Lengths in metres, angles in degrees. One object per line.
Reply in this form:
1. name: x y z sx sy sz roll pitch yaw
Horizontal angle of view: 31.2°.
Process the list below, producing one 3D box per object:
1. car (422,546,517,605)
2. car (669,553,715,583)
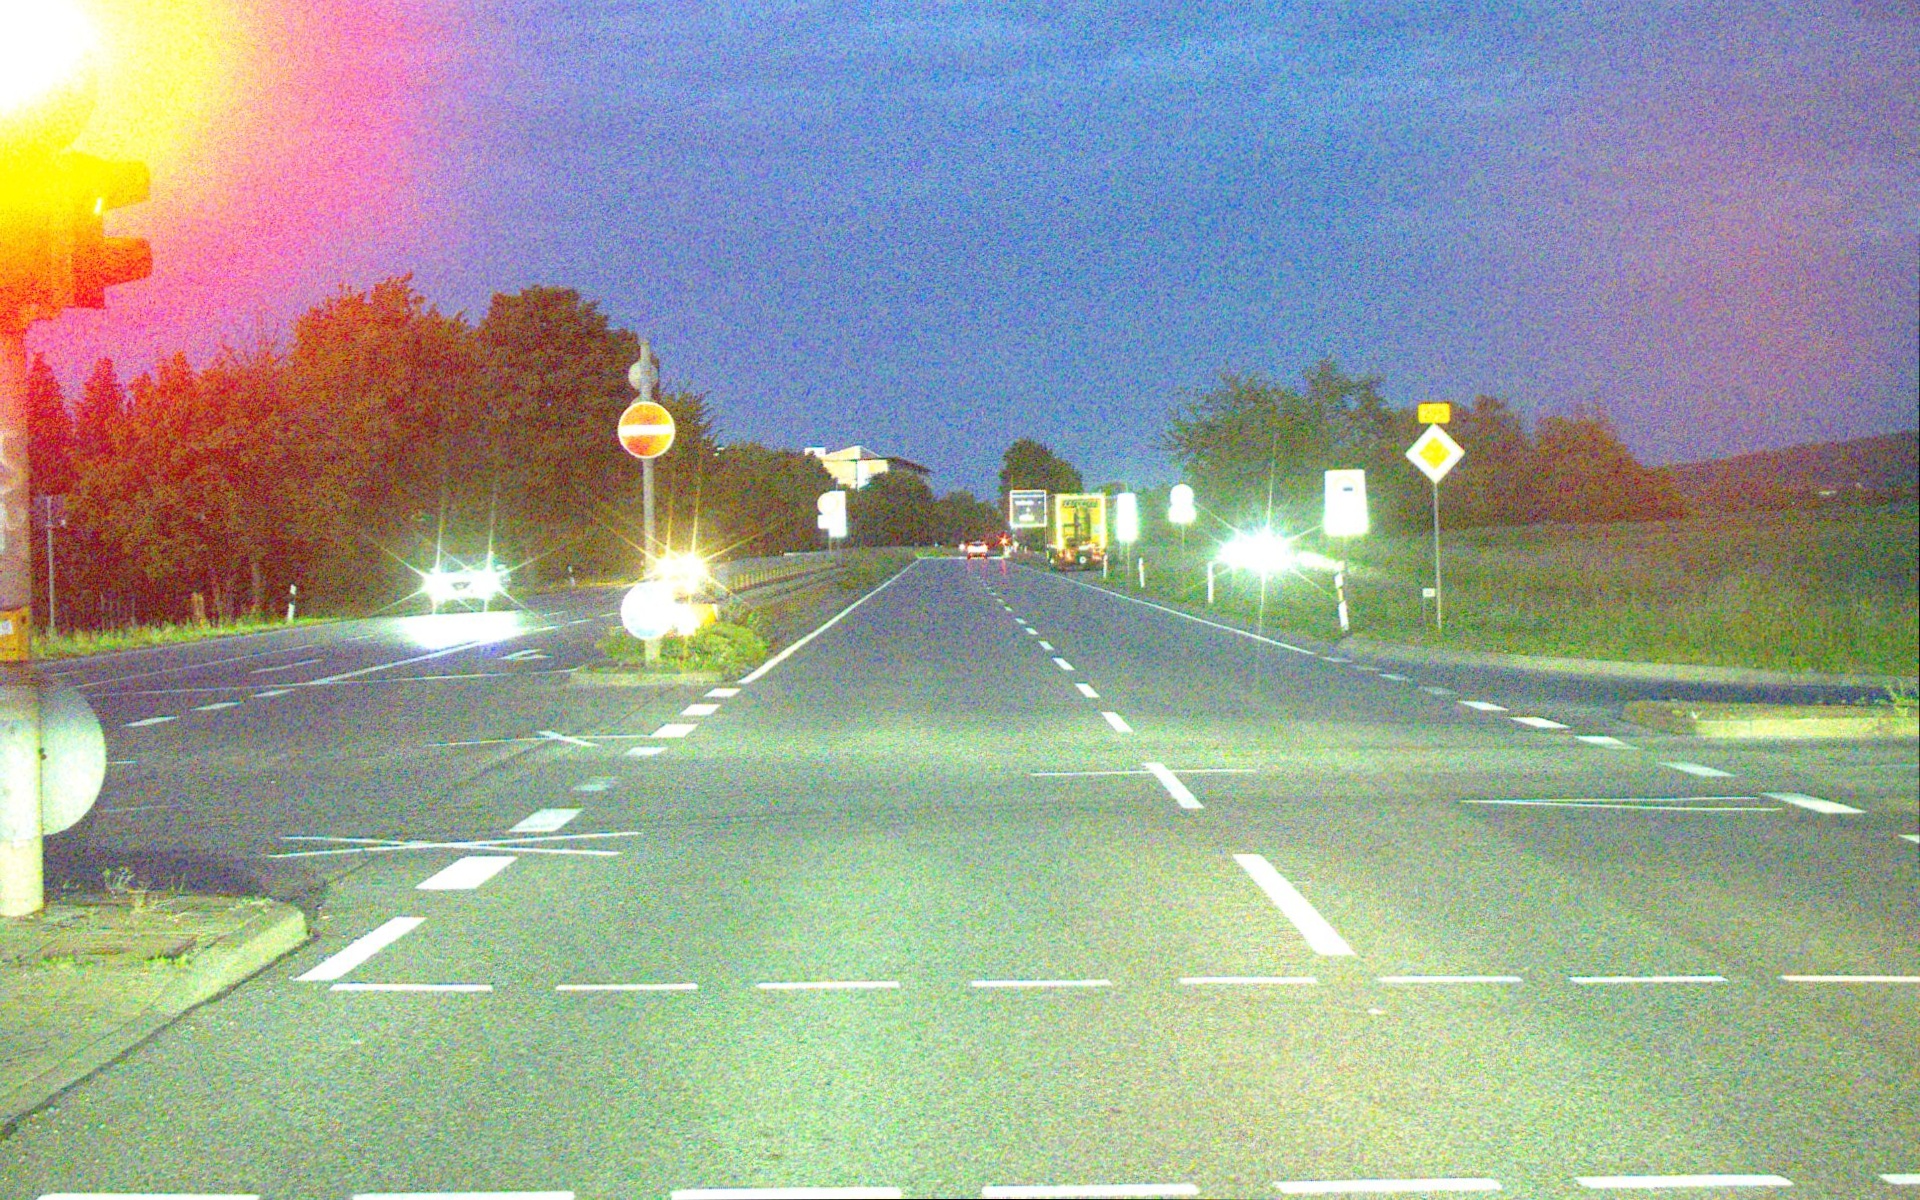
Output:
1. car: -13.314 -0.673 93.471 1.993 1.514 4.298 -1 1 -1
2. car: -13.343 -1.595 171.210 1.993 1.382 4.000 -1 1 -1
